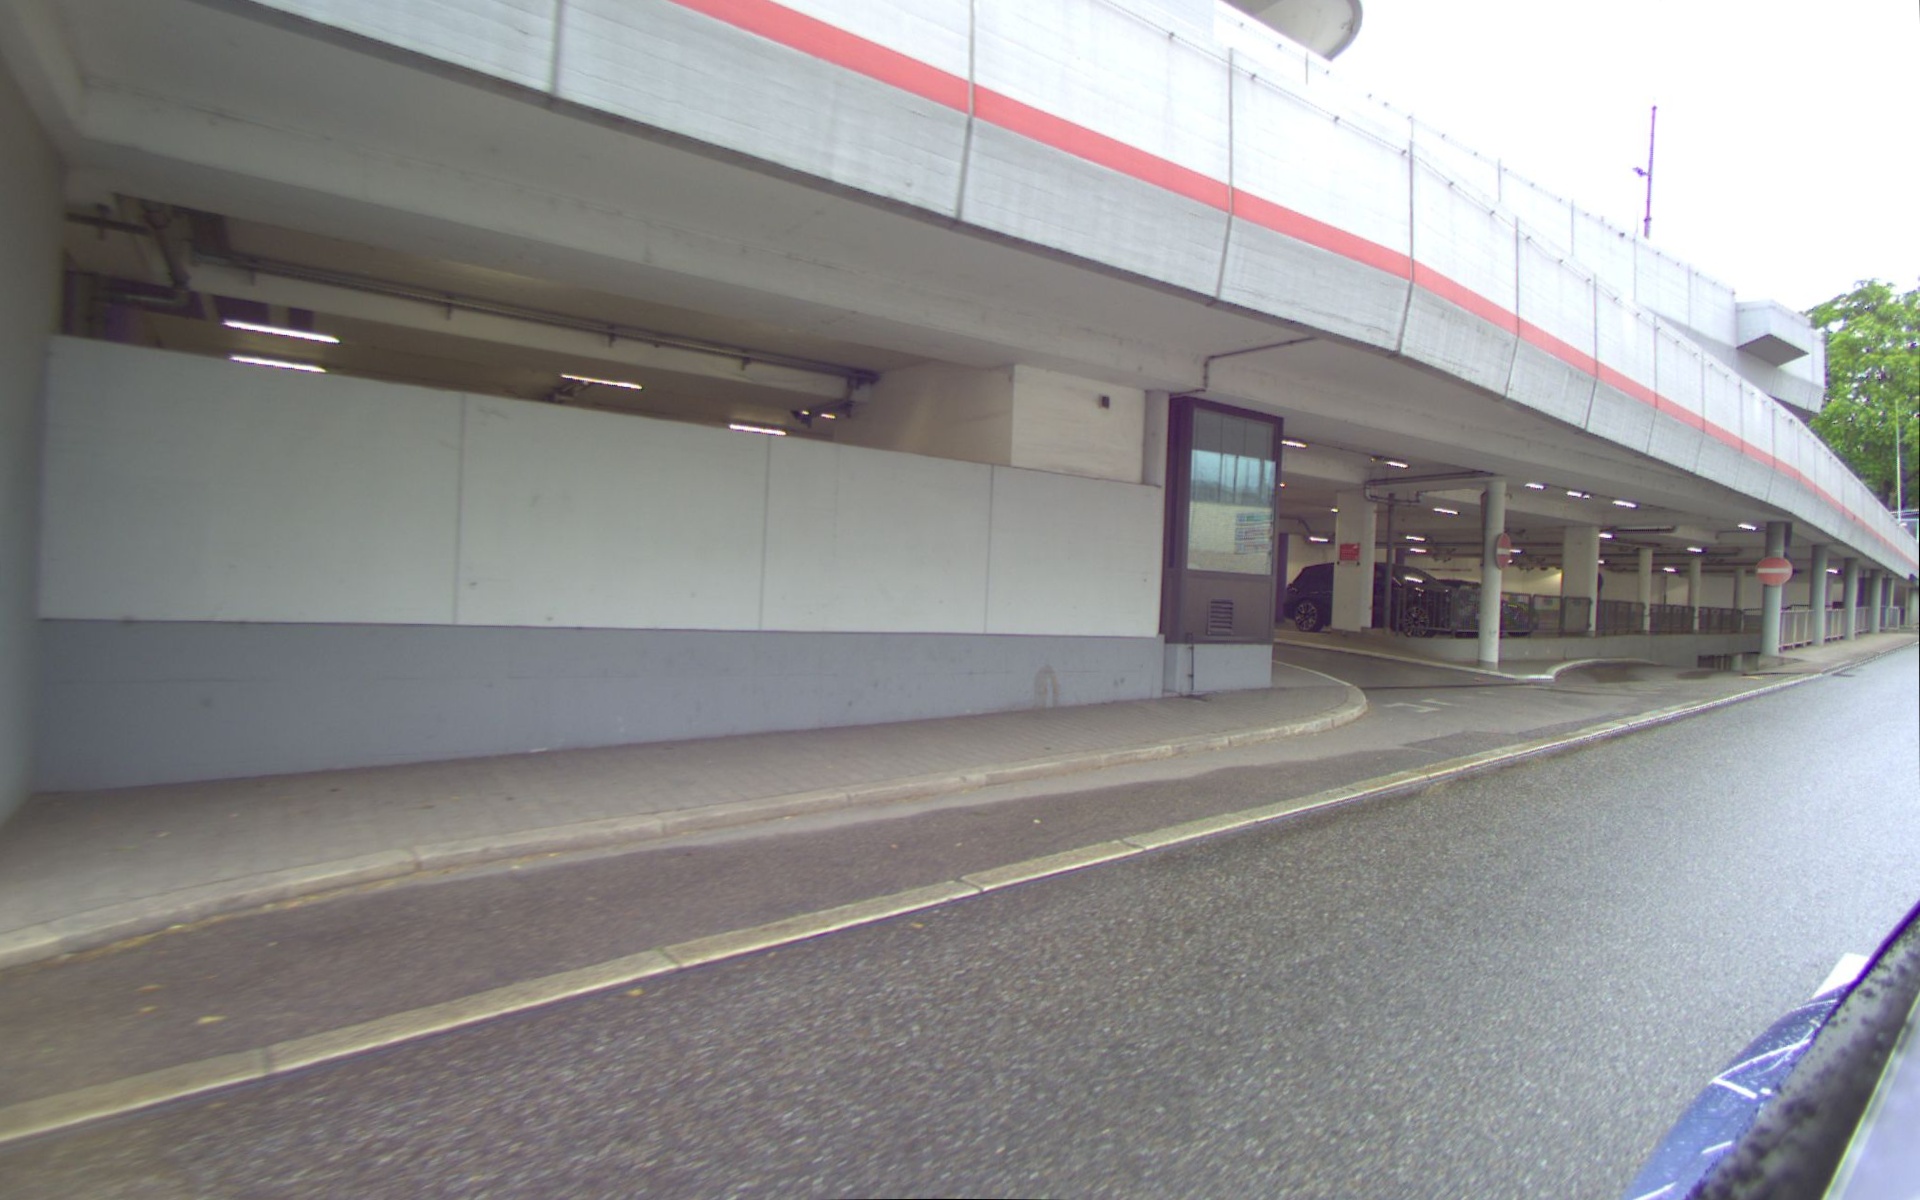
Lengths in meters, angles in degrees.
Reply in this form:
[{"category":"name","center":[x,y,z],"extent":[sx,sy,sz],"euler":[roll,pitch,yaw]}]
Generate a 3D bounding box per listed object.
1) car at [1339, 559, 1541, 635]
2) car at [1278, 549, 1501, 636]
[{"category":"car","center":[12.196,-0.101,25.976],"extent":[1.960,1.682,4.262],"euler":[5,-1,-31]},{"category":"car","center":[9.594,-0.181,22.937],"extent":[1.960,1.682,4.262],"euler":[5,-1,-31]}]
